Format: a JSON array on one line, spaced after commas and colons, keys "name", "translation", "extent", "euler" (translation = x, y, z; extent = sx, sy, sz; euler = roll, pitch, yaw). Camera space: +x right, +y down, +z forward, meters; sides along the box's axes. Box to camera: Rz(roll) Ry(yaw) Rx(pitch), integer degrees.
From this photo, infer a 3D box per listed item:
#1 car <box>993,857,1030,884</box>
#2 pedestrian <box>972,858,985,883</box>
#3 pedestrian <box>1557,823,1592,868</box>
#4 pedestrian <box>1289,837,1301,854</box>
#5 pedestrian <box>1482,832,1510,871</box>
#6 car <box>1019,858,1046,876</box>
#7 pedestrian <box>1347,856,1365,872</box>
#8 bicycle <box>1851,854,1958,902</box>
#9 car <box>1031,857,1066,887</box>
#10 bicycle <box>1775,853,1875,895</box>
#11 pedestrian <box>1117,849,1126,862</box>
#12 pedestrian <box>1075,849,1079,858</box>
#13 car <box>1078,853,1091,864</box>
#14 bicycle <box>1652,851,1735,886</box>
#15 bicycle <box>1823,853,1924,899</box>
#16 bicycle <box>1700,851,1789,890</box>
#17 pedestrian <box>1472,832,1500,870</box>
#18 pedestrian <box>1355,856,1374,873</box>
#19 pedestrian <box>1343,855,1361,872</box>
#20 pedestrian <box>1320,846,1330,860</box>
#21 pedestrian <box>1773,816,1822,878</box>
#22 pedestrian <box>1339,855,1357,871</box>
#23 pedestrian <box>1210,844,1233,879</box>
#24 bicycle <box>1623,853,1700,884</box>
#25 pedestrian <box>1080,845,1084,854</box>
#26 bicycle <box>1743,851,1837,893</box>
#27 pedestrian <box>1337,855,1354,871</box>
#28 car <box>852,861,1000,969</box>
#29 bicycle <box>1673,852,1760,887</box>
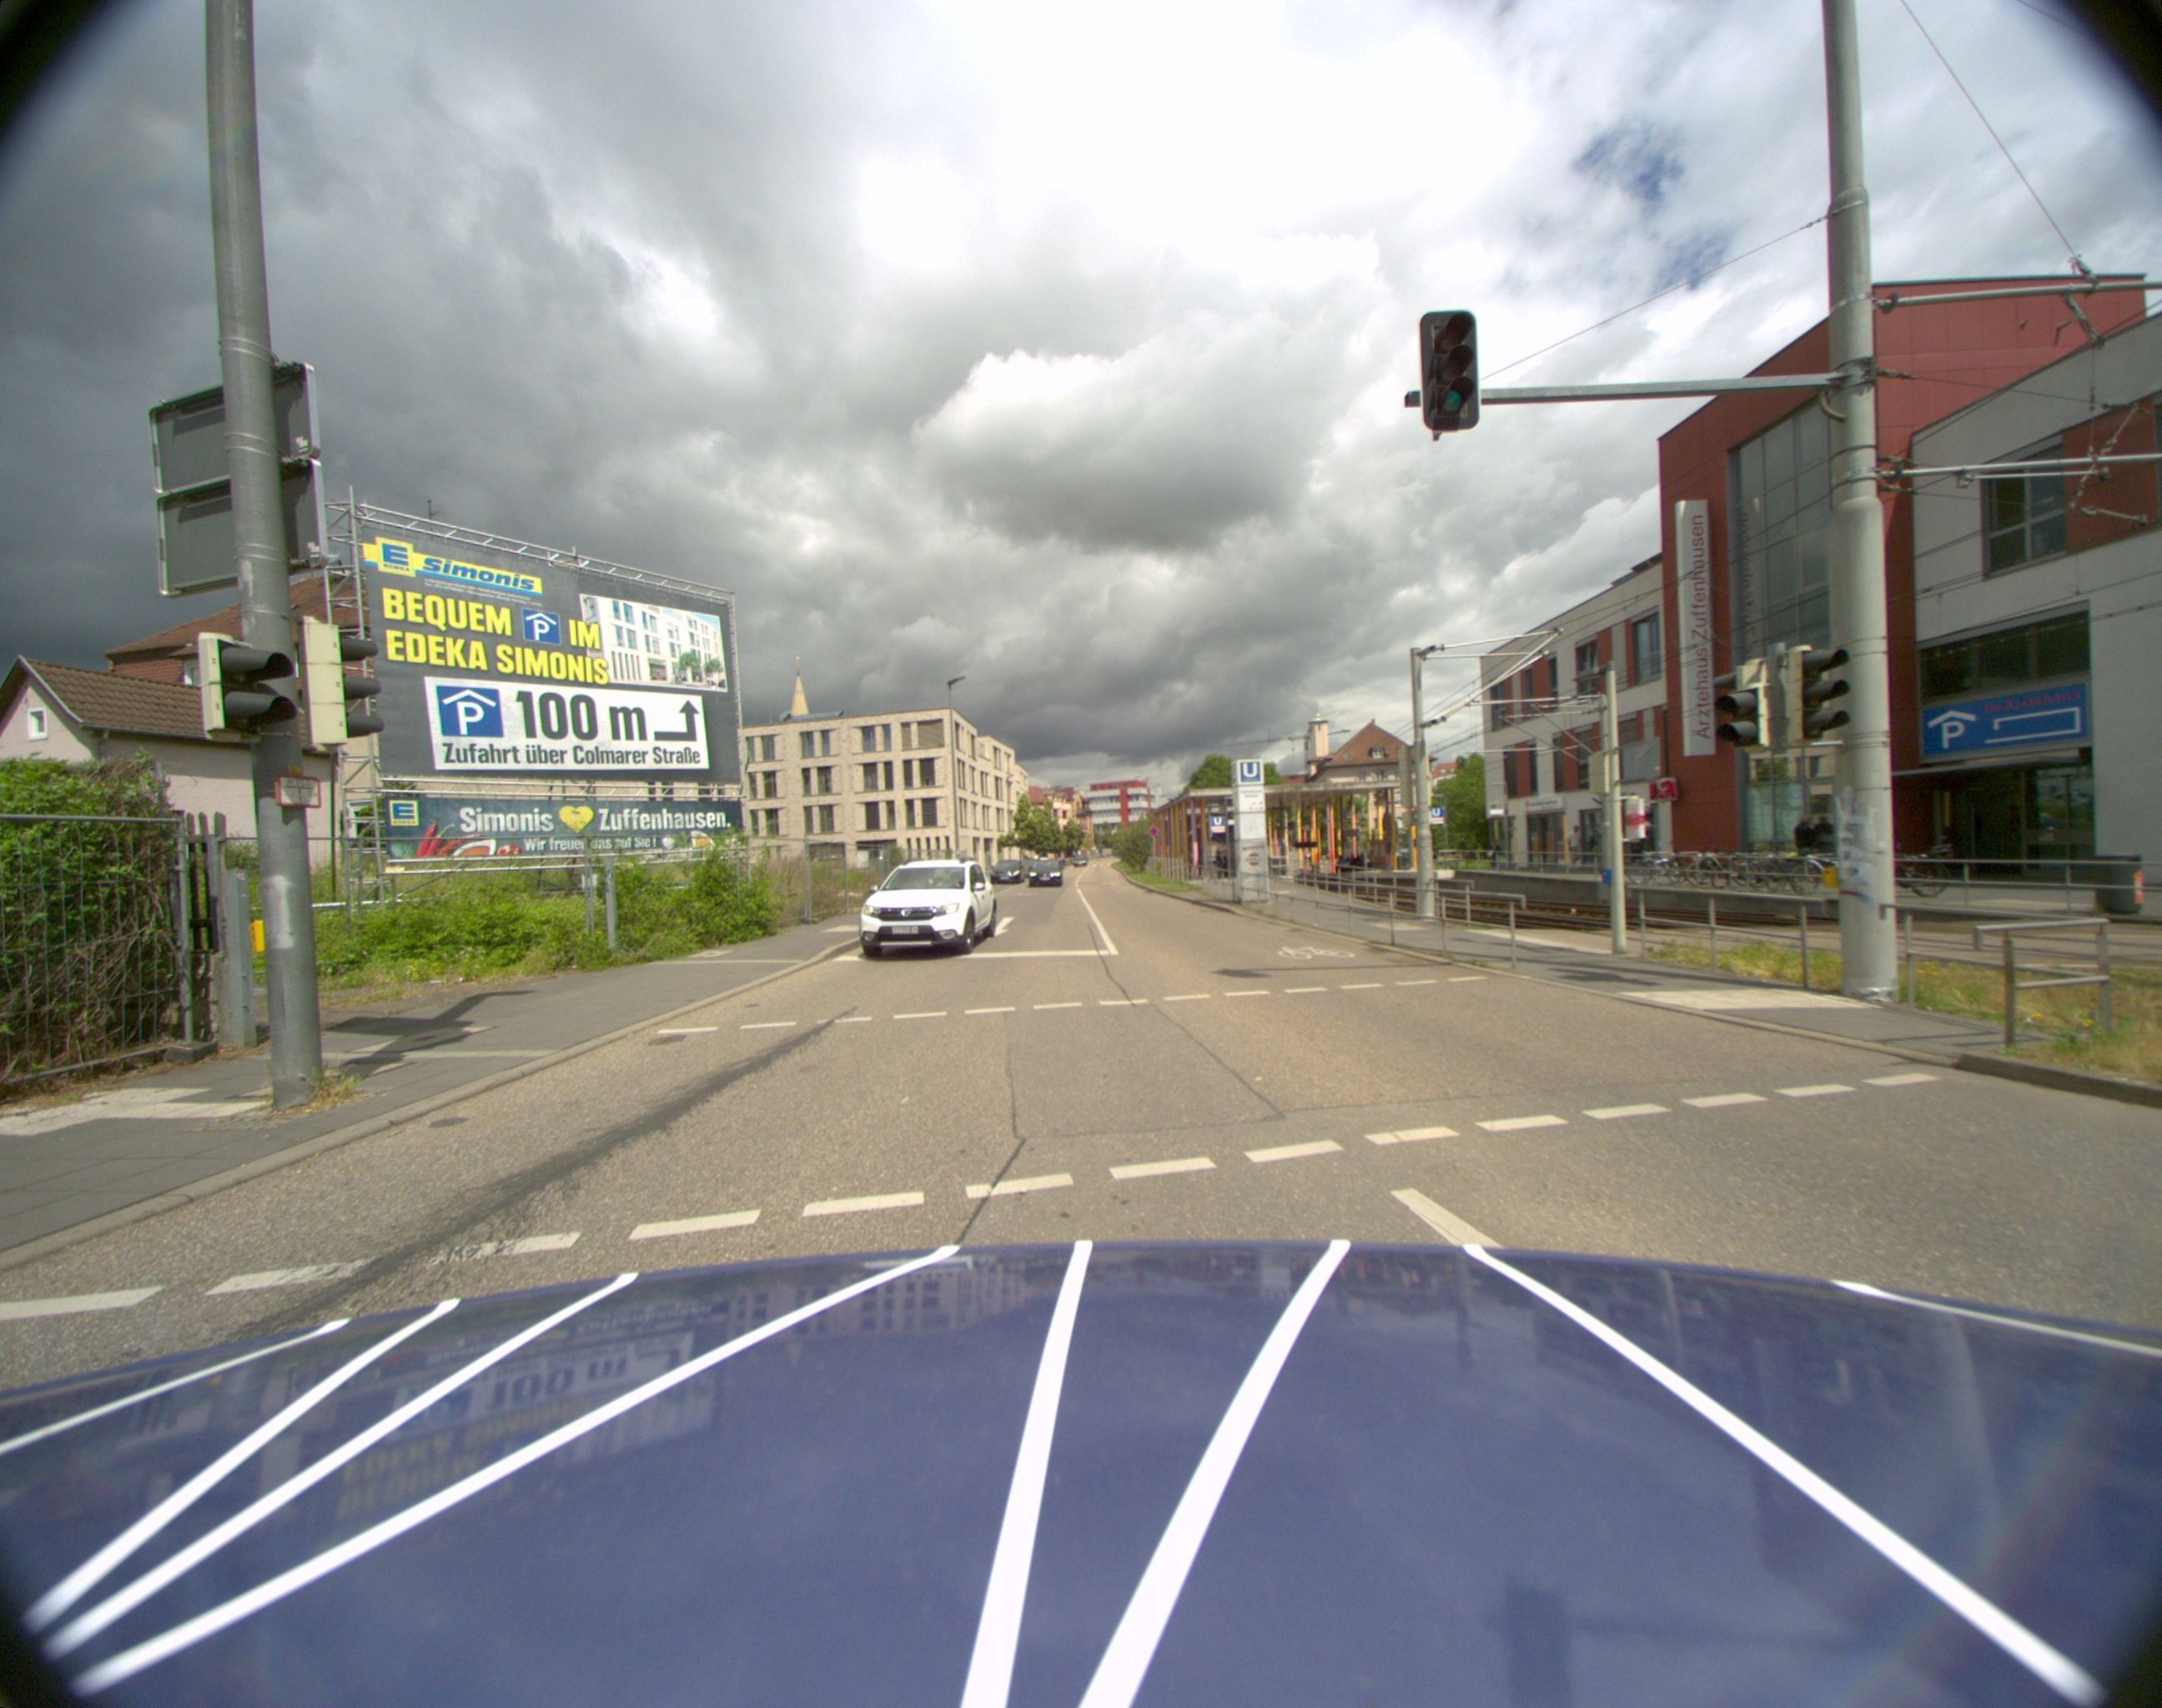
[{"name": "car", "translation": [-4.157, 0.968, 46.113], "extent": [1.677, 1.415, 3.794], "euler": [-1, 1, 3]}, {"name": "pedestrian", "translation": [-6.213, 1.012, 46.067], "extent": [0.673, 1.503, 0.782], "euler": [-2, 0, 1]}, {"name": "pedestrian", "translation": [21.918, -0.371, 33.792], "extent": [0.864, 1.957, 1.106], "euler": [-1, 2, 3]}, {"name": "pedestrian", "translation": [26.590, -1.047, 94.479], "extent": [1.127, 2.002, 1.179], "euler": [-2, 0, 6]}, {"name": "pedestrian", "translation": [21.534, -0.137, 39.462], "extent": [0.864, 1.957, 1.105], "euler": [-1, 2, -1]}, {"name": "car", "translation": [-3.802, 0.994, 59.958], "extent": [1.677, 1.367, 3.795], "euler": [-2, 0, 3]}, {"name": "pedestrian", "translation": [19.070, 0.694, 52.639], "extent": [0.943, 1.128, 0.886], "euler": [-2, 0, 2]}, {"name": "bicycle", "translation": [17.722, 0.509, 16.366], "extent": [1.739, 0.947, 0.428], "euler": [-2, 1, 3]}, {"name": "car", "translation": [-1.726, 0.952, 41.403], "extent": [1.678, 1.425, 3.794], "euler": [-2, 1, 0]}, {"name": "bicycle", "translation": [17.644, 0.476, 18.038], "extent": [1.862, 0.930, 0.454], "euler": [-2, 1, 3]}, {"name": "pedestrian", "translation": [5.597, 0.255, 104.930], "extent": [1.118, 1.744, 0.866], "euler": [-2, 0, -2]}, {"name": "pedestrian", "translation": [-0.789, -0.104, 139.132], "extent": [0.673, 1.503, 0.783], "euler": [-2, 0, 3]}, {"name": "car", "translation": [0.495, 0.609, 103.239], "extent": [1.677, 1.299, 3.794], "euler": [-1, 1, 3]}, {"name": "bicycle", "translation": [17.590, 0.414, 21.851], "extent": [1.861, 0.927, 0.455], "euler": [-2, 1, 9]}, {"name": "bicycle", "translation": [17.711, 0.495, 16.999], "extent": [1.739, 0.952, 0.428], "euler": [-2, 1, 3]}, {"name": "bicycle", "translation": [17.547, 0.436, 20.121], "extent": [1.861, 0.934, 0.454], "euler": [-2, 1, 5]}, {"name": "pedestrian", "translation": [21.047, -0.161, 39.539], "extent": [0.864, 1.957, 1.105], "euler": [-1, 2, -1]}, {"name": "pedestrian", "translation": [19.266, 0.709, 51.683], "extent": [0.943, 1.128, 0.886], "euler": [-2, 0, 2]}, {"name": "pedestrian", "translation": [19.086, 0.677, 53.597], "extent": [0.943, 1.128, 0.886], "euler": [-2, 0, 2]}, {"name": "pedestrian", "translation": [25.144, -0.112, 78.264], "extent": [0.744, 1.442, 0.902], "euler": [-2, 0, -3]}, {"name": "pedestrian", "translation": [22.009, -0.233, 23.339], "extent": [0.881, 1.835, 0.862], "euler": [-4, 3, -27]}, {"name": "pedestrian", "translation": [19.182, 0.657, 54.587], "extent": [0.943, 1.128, 0.886], "euler": [-2, 0, 2]}, {"name": "pedestrian", "translation": [7.702, 0.404, 41.644], "extent": [1.105, 1.903, 0.864], "euler": [-1, 2, 2]}, {"name": "bicycle", "translation": [17.531, 0.428, 22.979], "extent": [1.861, 0.876, 0.455], "euler": [-2, 1, 9]}, {"name": "pedestrian", "translation": [0.132, -0.846, 139.099], "extent": [0.673, 1.503, 0.783], "euler": [-2, 0, 3]}, {"name": "bicycle", "translation": [17.681, 0.445, 18.970], "extent": [1.862, 0.957, 0.454], "euler": [-2, 1, 3]}, {"name": "pedestrian", "translation": [19.271, 0.643, 55.324], "extent": [0.943, 1.128, 0.886], "euler": [-2, 0, 2]}, {"name": "car", "translation": [-2.538, 0.938, 13.348], "extent": [1.718, 1.541, 3.793], "euler": [-1, 0, 1]}, {"name": "bicycle", "translation": [17.565, 0.429, 21.022], "extent": [1.861, 0.917, 0.455], "euler": [-2, 1, 8]}]
